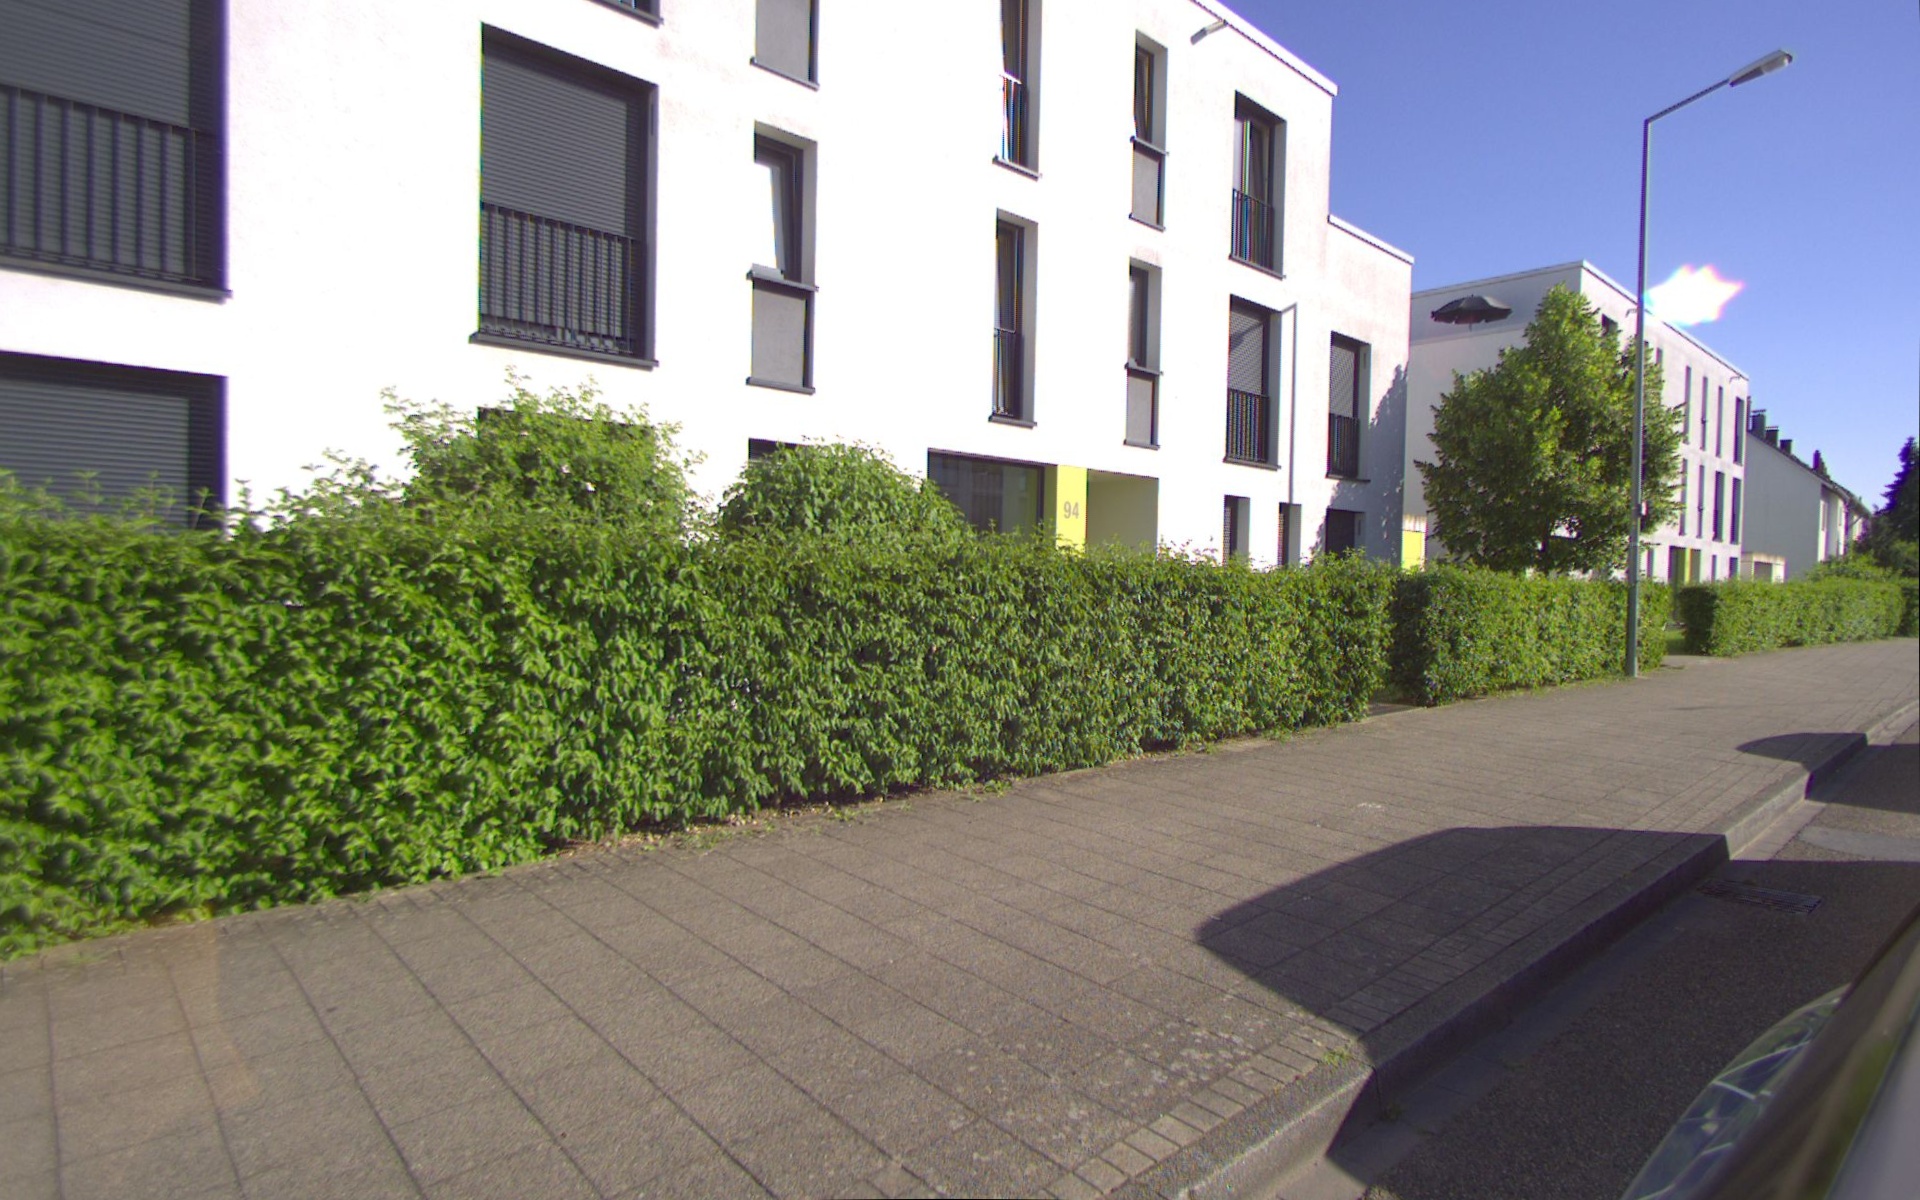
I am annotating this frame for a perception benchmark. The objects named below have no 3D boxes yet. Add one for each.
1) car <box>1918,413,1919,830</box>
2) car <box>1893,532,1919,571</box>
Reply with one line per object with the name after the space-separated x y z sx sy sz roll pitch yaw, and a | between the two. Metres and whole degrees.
5.267 0.468 3.671 4.995 1.994 2.126 0 0 -41 | car
61.773 -3.051 64.128 6.066 2.376 3.181 -1 0 -40 | car
